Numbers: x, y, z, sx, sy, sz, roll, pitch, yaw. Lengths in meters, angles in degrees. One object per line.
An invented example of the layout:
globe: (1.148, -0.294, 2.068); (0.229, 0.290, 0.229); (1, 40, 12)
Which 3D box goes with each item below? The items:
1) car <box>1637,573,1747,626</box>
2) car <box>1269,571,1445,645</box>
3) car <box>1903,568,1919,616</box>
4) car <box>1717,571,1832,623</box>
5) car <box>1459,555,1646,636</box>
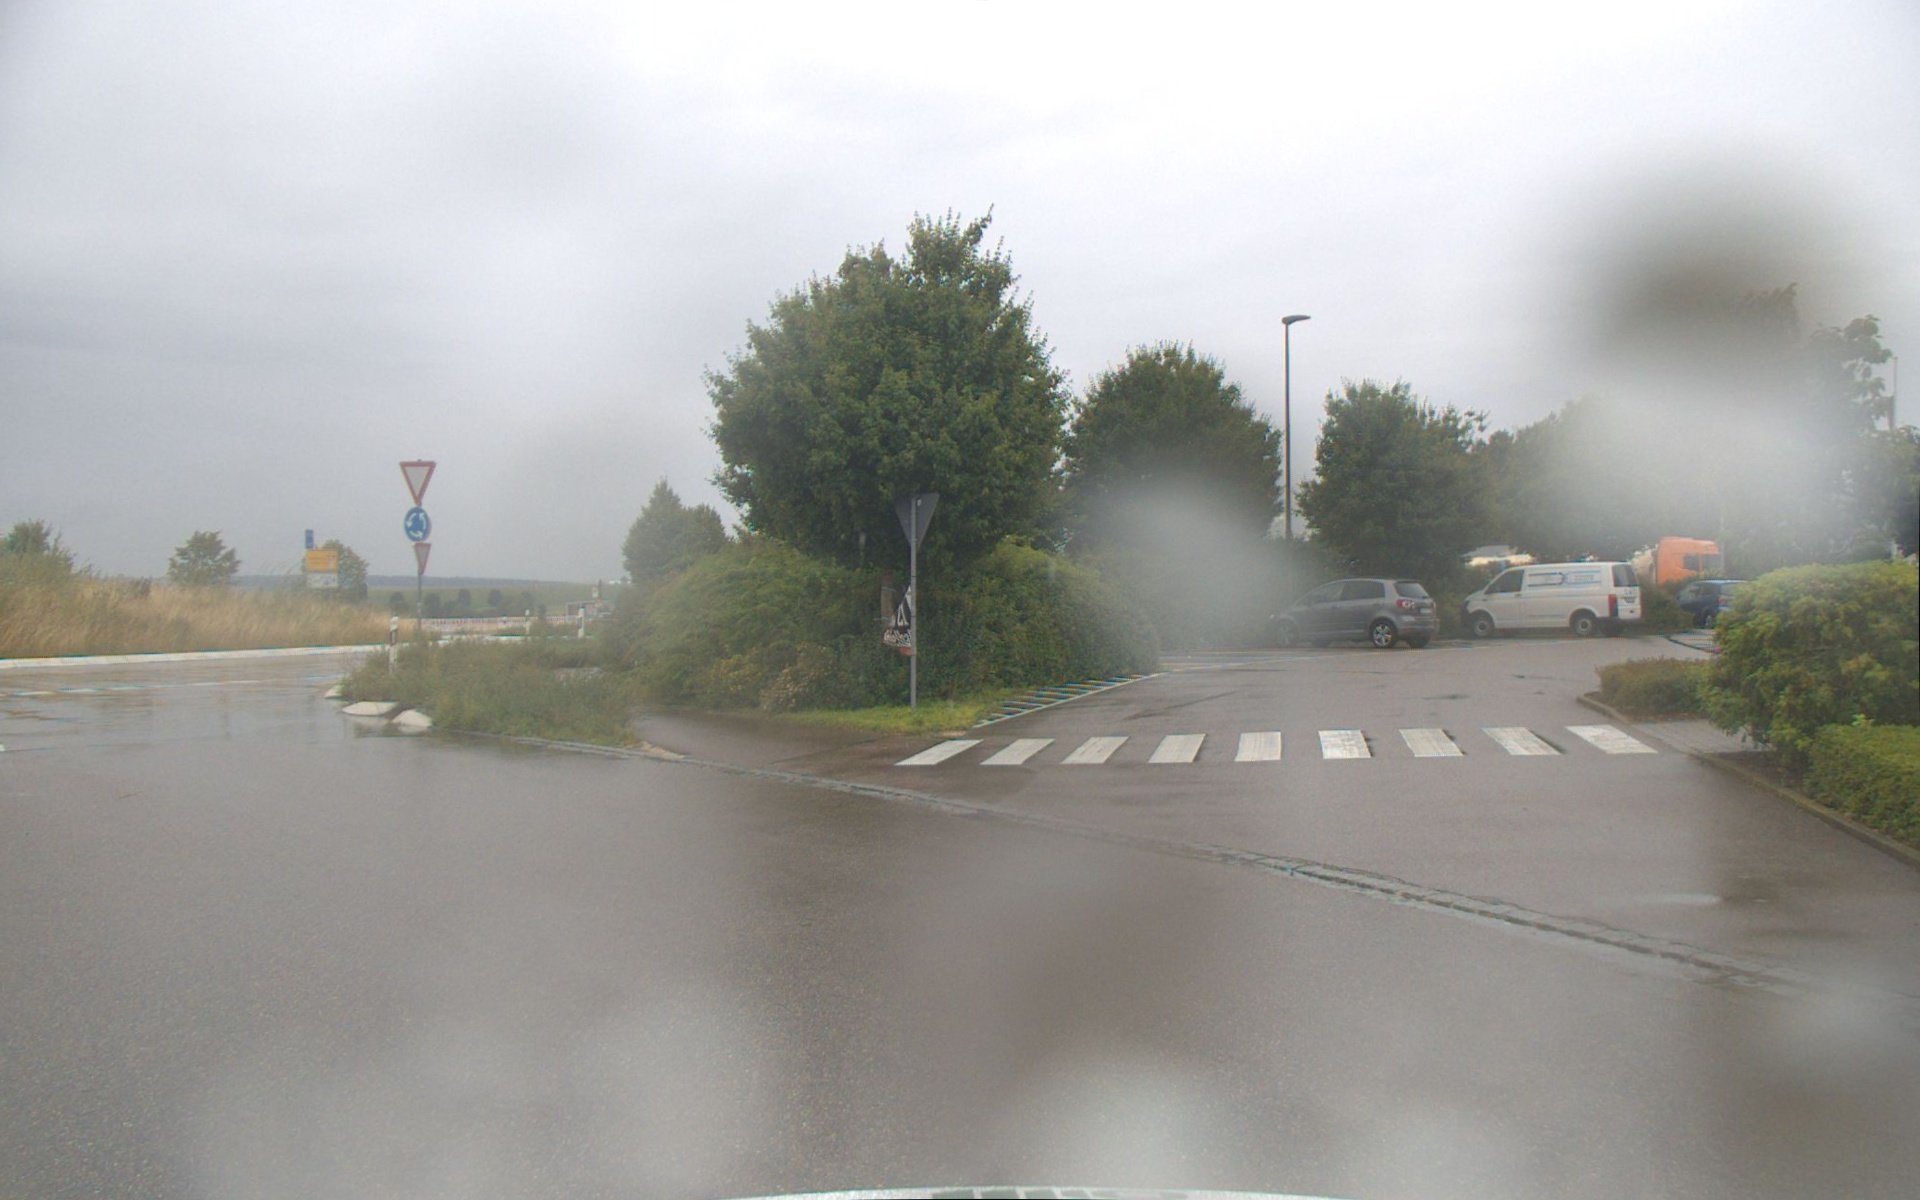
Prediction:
car: (21.862, -0.007, 49.510); (1.520, 1.483, 3.679); (-2, 0, -2)
car: (9.020, 0.200, 37.739); (3.680, 1.578, 1.441); (-1, 0, 44)
car: (29.999, -0.269, 49.283); (1.549, 1.483, 3.679); (-2, 0, -2)
car: (24.652, -0.081, 50.210); (1.549, 1.483, 3.679); (-2, 0, -2)
car: (15.973, -0.106, 44.739); (4.458, 2.069, 1.634); (-1, 0, 44)
